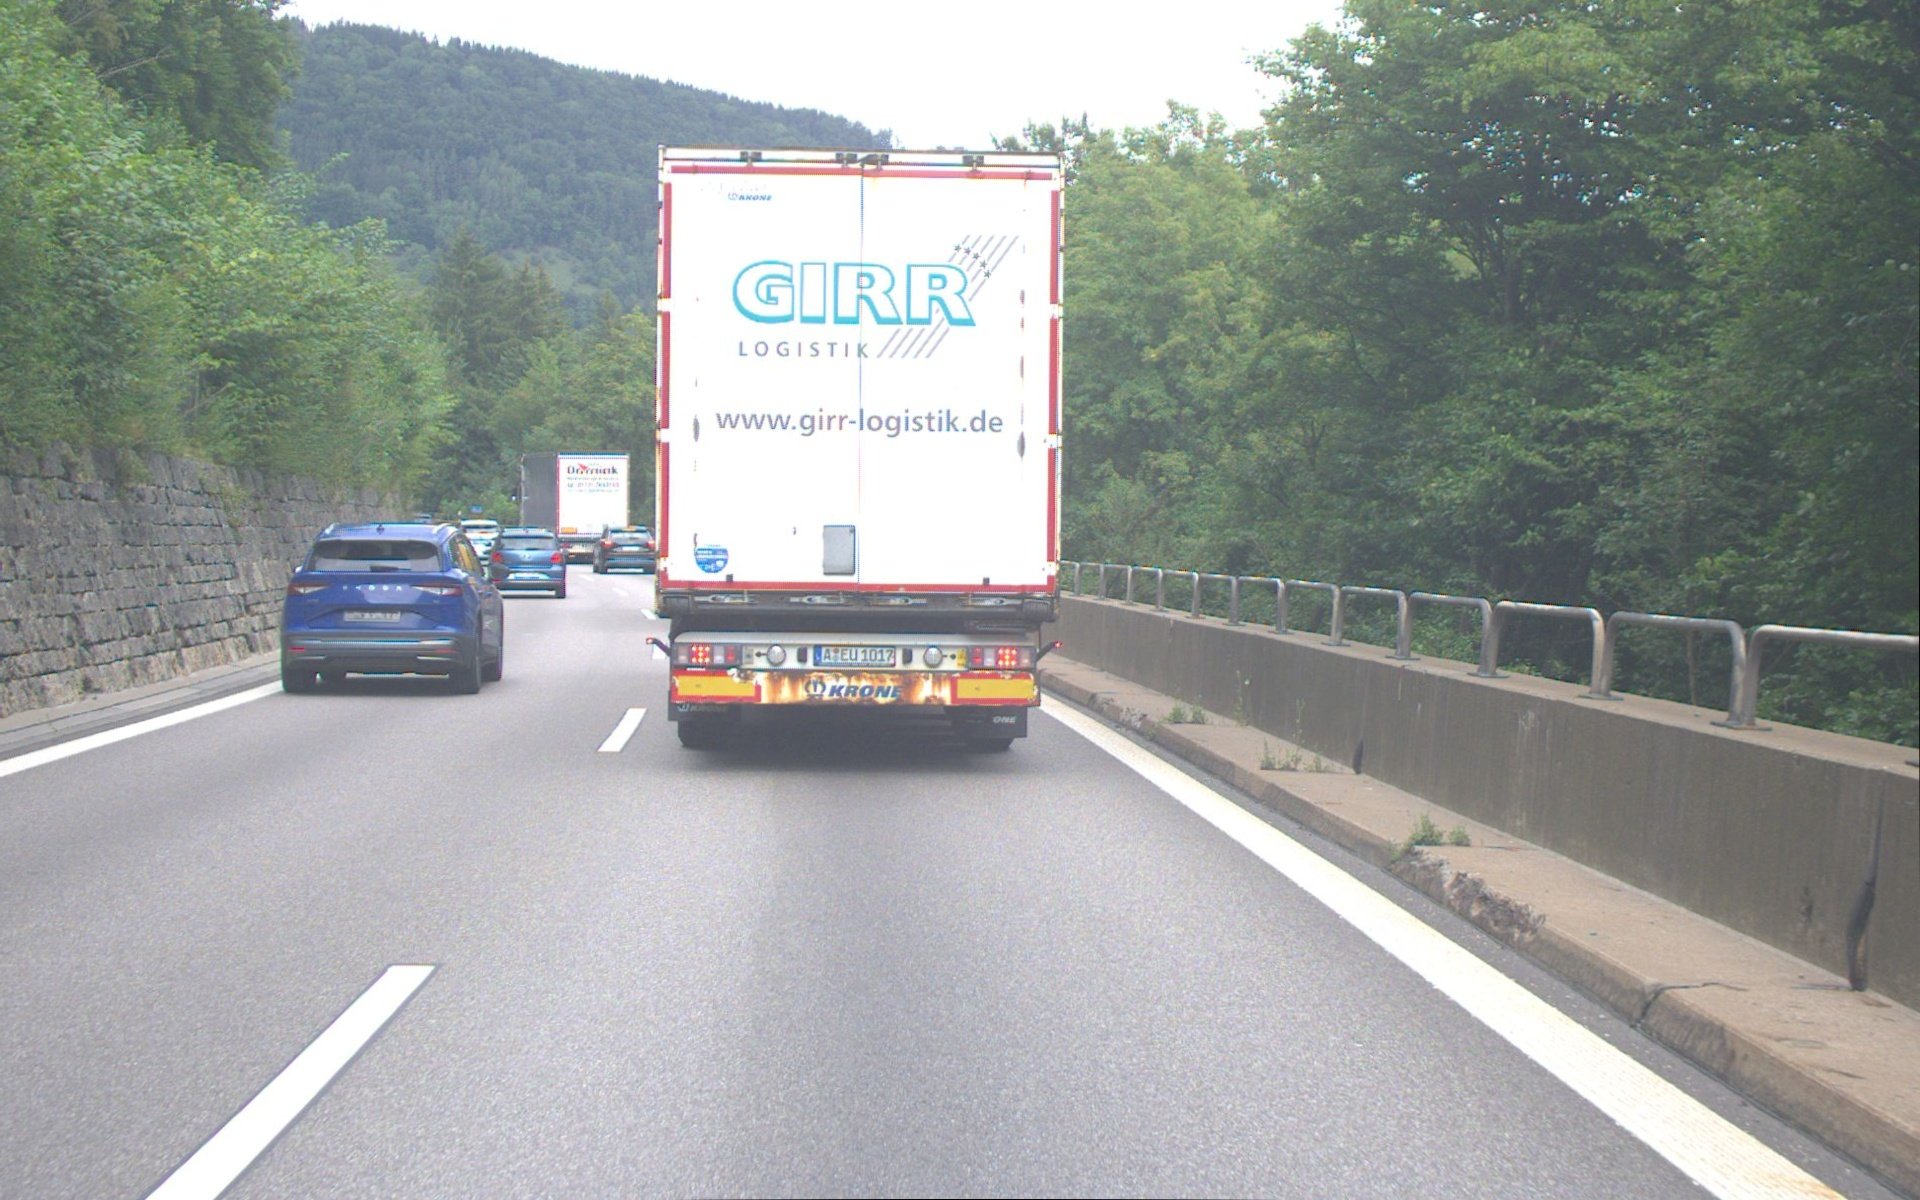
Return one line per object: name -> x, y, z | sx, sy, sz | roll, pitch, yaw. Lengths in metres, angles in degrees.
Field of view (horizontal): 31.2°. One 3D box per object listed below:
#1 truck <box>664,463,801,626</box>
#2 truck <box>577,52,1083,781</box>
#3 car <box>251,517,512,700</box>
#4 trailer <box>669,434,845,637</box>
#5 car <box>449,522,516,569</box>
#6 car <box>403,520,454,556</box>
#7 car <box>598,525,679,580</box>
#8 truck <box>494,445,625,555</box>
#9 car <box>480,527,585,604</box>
truck -> -4.244, -1.029, 63.461 | 2.208, 2.841, 5.005 | 1, 1, -7
truck -> -1.128, -1.272, 28.635 | 3.084, 4.448, 15.157 | 0, 1, -3
car -> -5.557, 0.018, 33.604 | 1.993, 1.626, 5.009 | 1, 1, -4
trailer -> -3.545, -1.071, 57.788 | 2.211, 3.037, 11.142 | 1, 1, -7
car -> -16.422, -1.885, 118.083 | 1.896, 1.545, 4.251 | 1, 1, -13
car -> -24.467, -2.858, 158.122 | 1.896, 1.545, 4.251 | 1, 1, -14
car -> -9.880, -1.484, 105.482 | 2.060, 1.648, 4.001 | 0, 1, -11
truck -> -14.874, -3.644, 126.737 | 2.633, 3.844, 12.363 | 0, 1, -17
car -> -9.301, -0.764, 74.510 | 1.993, 1.590, 4.355 | 1, 1, -10
